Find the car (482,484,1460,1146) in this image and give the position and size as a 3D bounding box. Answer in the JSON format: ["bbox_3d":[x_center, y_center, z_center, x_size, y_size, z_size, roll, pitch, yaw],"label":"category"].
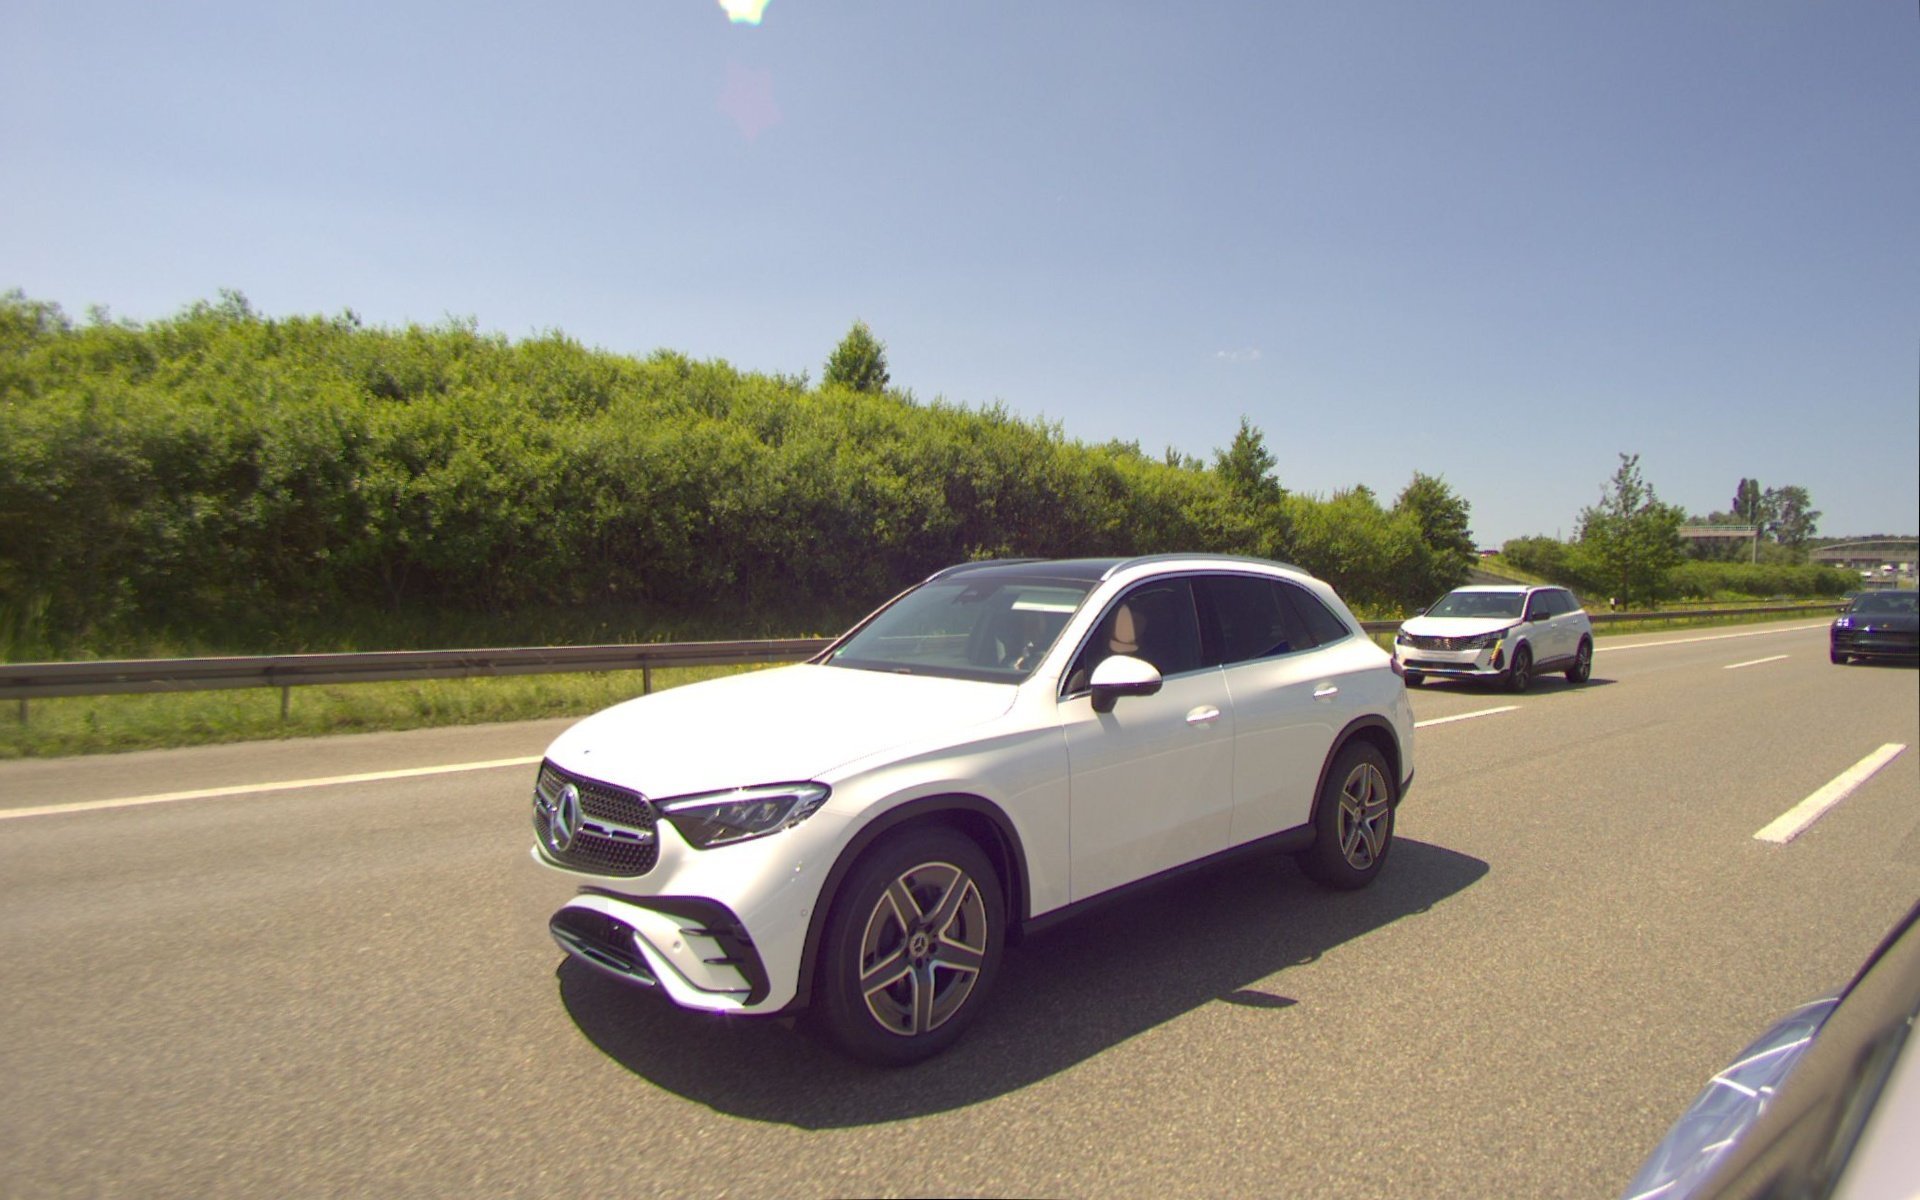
[{"bbox_3d":[0.434,0.537,4.802,4.556,1.677,1.908,0,0,-41],"label":"car"}]

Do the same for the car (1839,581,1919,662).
[{"bbox_3d":[20.988,0.408,22.317,4.540,1.650,1.979,-1,1,-43],"label":"car"}]

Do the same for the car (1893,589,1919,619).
[{"bbox_3d":[50.757,0.194,53.751,1.747,1.489,3.937,0,1,44],"label":"car"}]

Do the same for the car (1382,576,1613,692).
[{"bbox_3d":[8.916,0.454,16.612,4.537,1.650,1.896,-1,1,-42],"label":"car"}]
